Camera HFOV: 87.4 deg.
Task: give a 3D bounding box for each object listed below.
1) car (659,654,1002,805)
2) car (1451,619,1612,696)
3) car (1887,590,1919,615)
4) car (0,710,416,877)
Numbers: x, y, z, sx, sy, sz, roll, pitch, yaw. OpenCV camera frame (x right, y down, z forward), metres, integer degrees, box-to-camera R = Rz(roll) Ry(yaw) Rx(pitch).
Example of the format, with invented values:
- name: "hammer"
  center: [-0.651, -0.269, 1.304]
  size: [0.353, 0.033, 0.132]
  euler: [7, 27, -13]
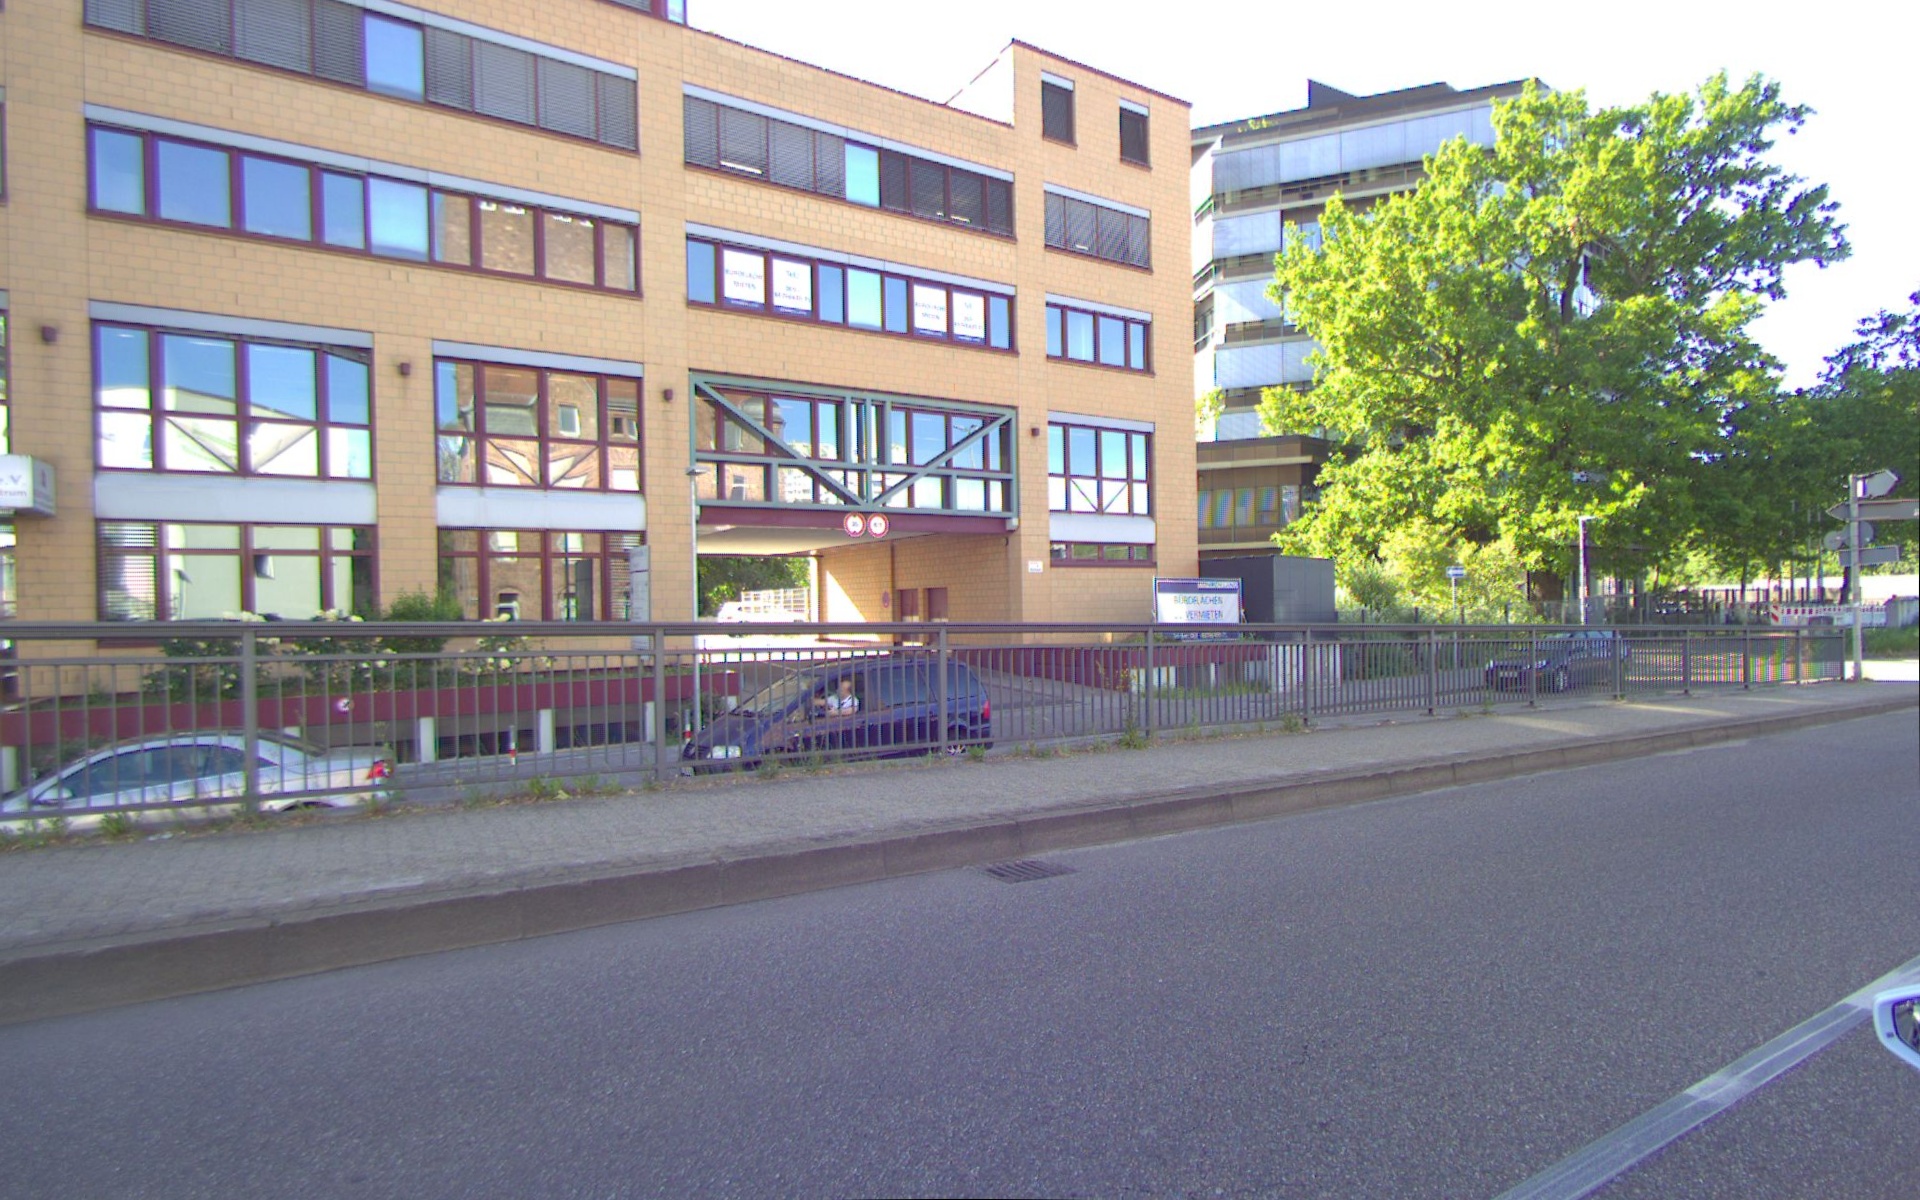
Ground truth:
- name: "car"
  center: [-1.714, 1.664, 14.139]
  size: [4.542, 1.669, 1.710]
  euler: [0, -2, -36]
- name: "car"
  center: [14.464, 1.391, 25.380]
  size: [3.953, 1.715, 1.842]
  euler: [-1, 0, -31]
- name: "car"
  center: [64.082, 0.178, 66.245]
  size: [1.853, 1.651, 4.412]
  euler: [-1, -1, 1]
- name: "car"
  center: [-7.972, 1.885, 10.207]
  size: [4.211, 1.181, 1.712]
  euler: [0, -2, -32]
